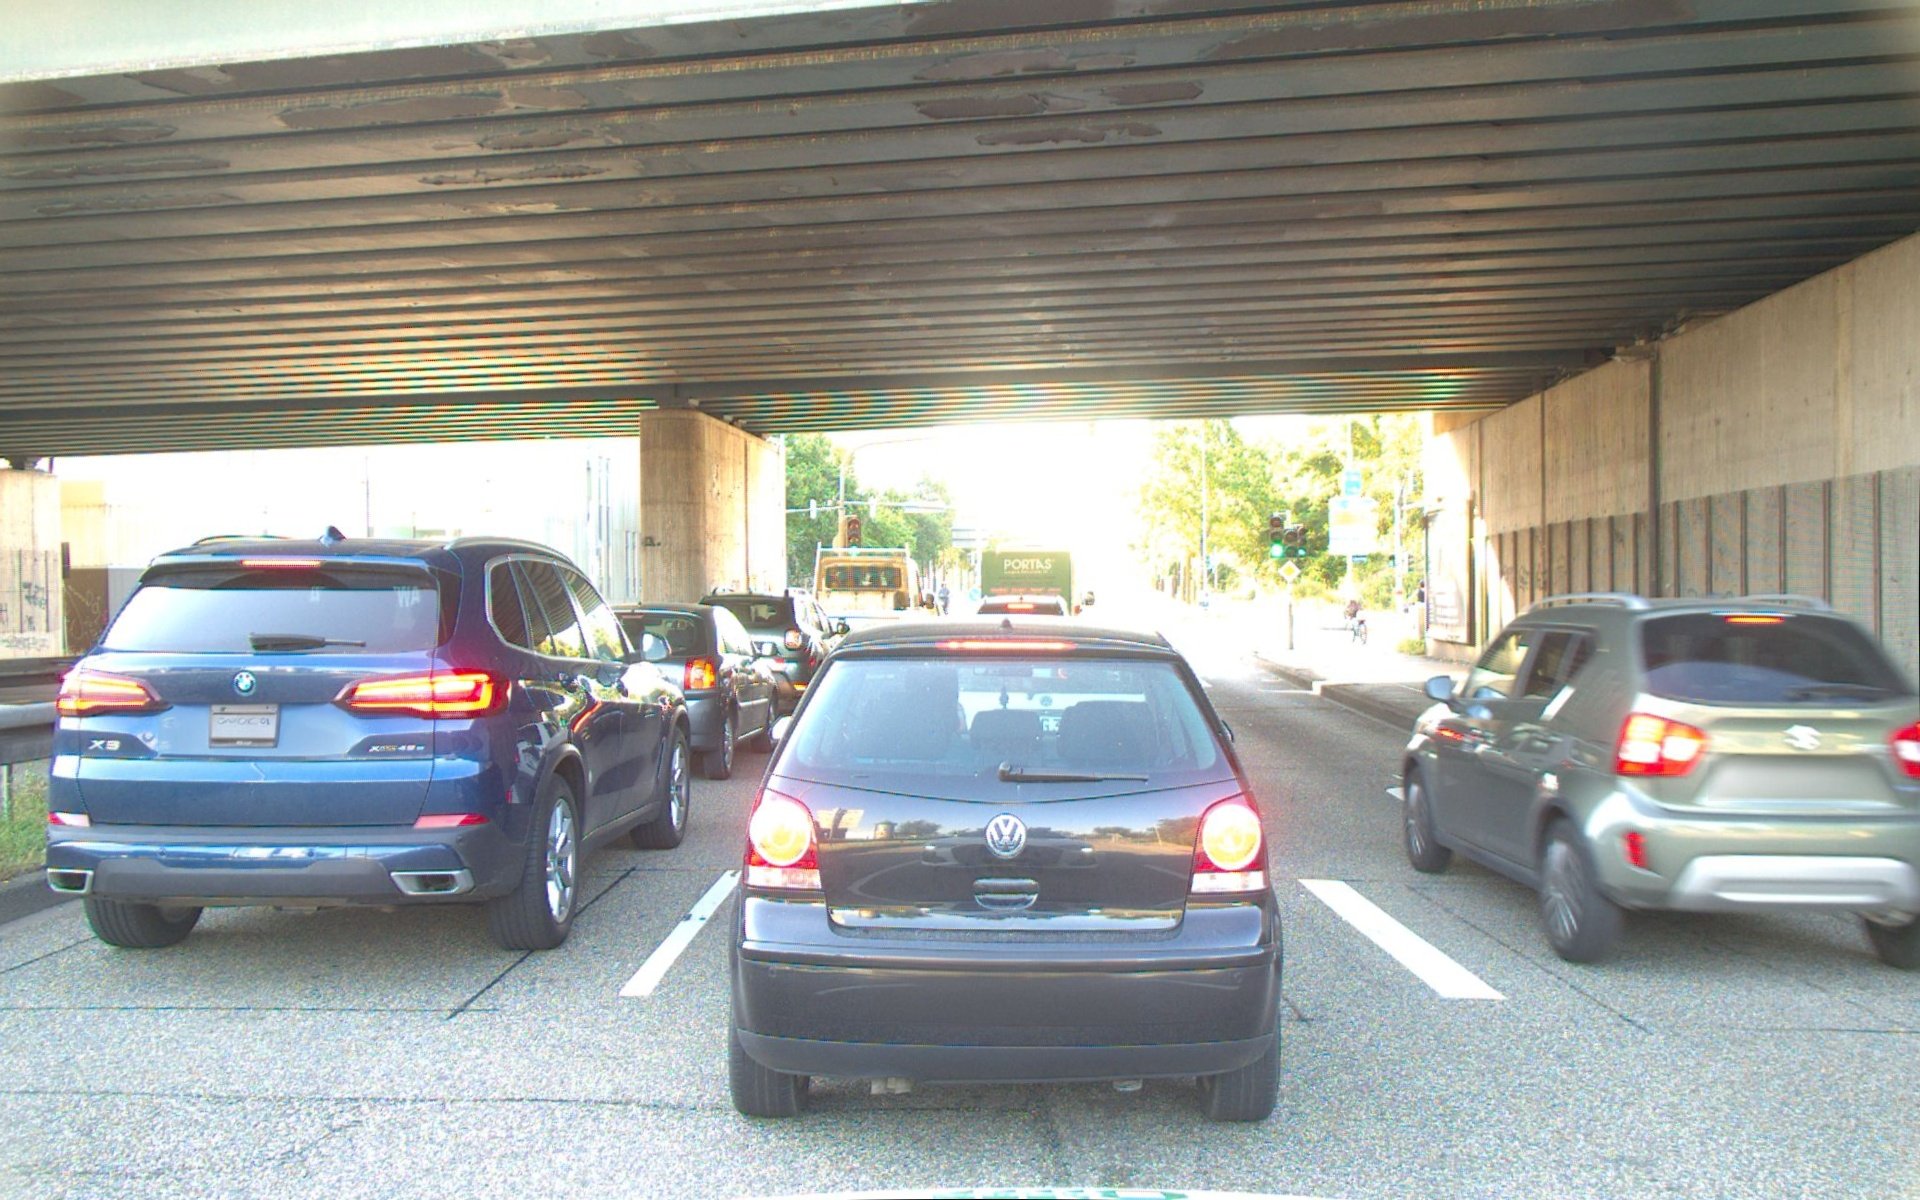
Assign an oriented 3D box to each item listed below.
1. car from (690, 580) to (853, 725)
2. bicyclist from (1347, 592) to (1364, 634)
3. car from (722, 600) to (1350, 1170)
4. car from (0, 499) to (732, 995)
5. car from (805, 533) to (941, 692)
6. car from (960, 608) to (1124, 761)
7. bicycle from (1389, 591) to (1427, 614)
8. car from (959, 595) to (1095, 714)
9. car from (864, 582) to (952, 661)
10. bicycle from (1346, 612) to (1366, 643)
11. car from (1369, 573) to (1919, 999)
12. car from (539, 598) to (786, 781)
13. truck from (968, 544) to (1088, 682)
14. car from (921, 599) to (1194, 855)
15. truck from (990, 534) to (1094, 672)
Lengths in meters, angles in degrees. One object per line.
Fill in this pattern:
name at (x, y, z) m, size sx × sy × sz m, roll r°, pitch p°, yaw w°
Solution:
car at (-2.389, 0.641, 21.762) m, size 1.583 × 1.709 × 3.684 m, roll 1°, pitch 0°, yaw 2°
bicyclist at (11.899, 0.395, 49.762) m, size 0.418 × 1.254 × 0.460 m, roll -1°, pitch -1°, yaw 6°
car at (0.175, 0.738, 6.065) m, size 1.583 × 1.434 × 3.682 m, roll 1°, pitch 0°, yaw -1°
car at (-2.543, 0.538, 8.275) m, size 1.952 × 1.764 × 4.534 m, roll 1°, pitch 0°, yaw 3°
car at (-1.485, 0.212, 30.200) m, size 2.092 × 2.621 × 5.087 m, roll 1°, pitch 0°, yaw 1°
car at (0.804, 0.815, 17.826) m, size 1.546 × 1.438 × 4.062 m, roll 1°, pitch 0°, yaw 1°
bicycle at (21.002, 0.114, 77.506) m, size 1.628 × 1.008 × 0.578 m, roll -1°, pitch 3°, yaw 23°
car at (1.075, 0.751, 24.525) m, size 1.758 × 1.586 × 4.003 m, roll 1°, pitch 0°, yaw 6°
car at (-1.149, 0.478, 38.002) m, size 1.582 × 1.709 × 3.685 m, roll 1°, pitch 0°, yaw 5°
bicycle at (11.911, 0.819, 49.772) m, size 0.428 × 0.930 × 1.027 m, roll -2°, pitch -1°, yaw 6°
car at (3.462, 0.747, 8.565) m, size 1.701 × 1.659 × 4.062 m, roll 1°, pitch 0°, yaw 1°
car at (-2.574, 0.724, 15.076) m, size 1.583 × 1.434 × 3.682 m, roll 1°, pitch 0°, yaw 0°
truck at (1.324, 0.235, 30.540) m, size 1.954 × 2.356 × 4.003 m, roll 1°, pitch 0°, yaw 6°
car at (0.583, 0.737, 11.526) m, size 1.546 × 1.438 × 4.062 m, roll 1°, pitch 0°, yaw 1°
truck at (1.789, 0.069, 34.994) m, size 1.954 × 2.715 × 4.003 m, roll 1°, pitch 0°, yaw 6°
